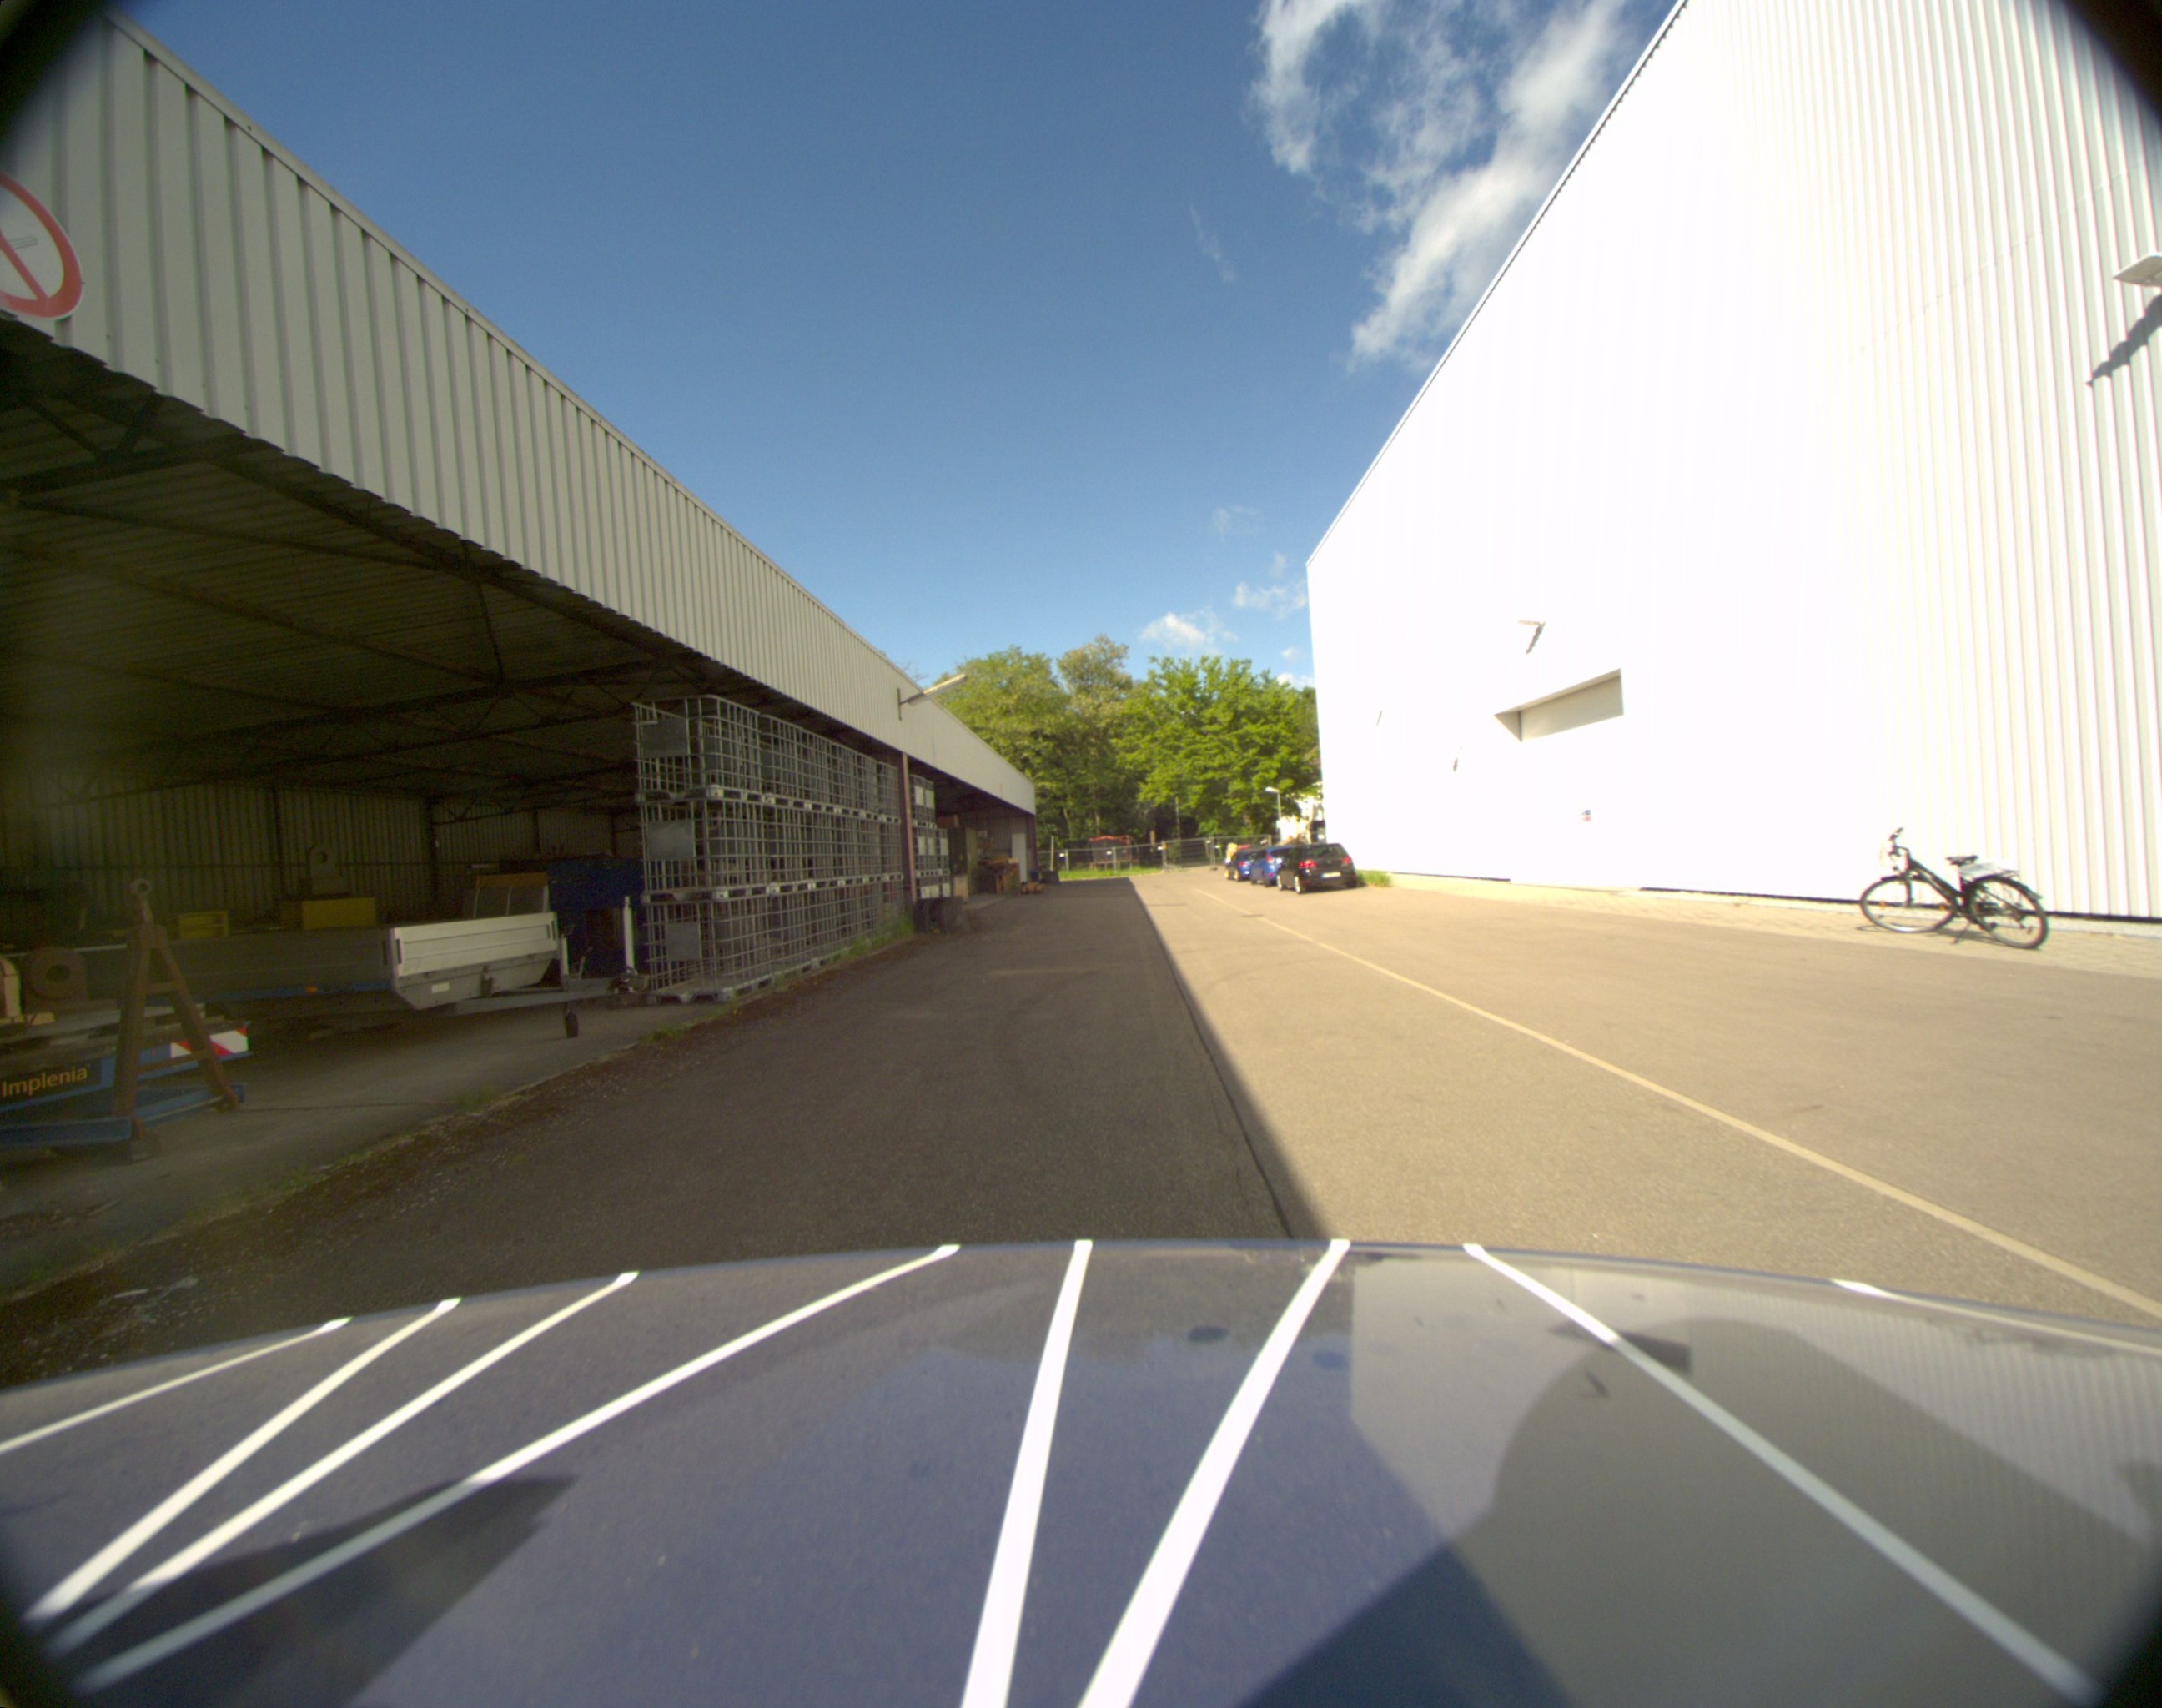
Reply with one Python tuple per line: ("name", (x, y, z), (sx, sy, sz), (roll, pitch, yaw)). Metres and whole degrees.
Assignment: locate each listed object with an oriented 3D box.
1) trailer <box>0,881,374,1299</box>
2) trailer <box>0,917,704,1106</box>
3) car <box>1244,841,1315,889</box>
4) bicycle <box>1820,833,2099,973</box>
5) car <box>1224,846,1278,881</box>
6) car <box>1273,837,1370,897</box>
("trailer", (-6.805, 1.104, 3.658), (4.879, 1.619, 2.029), (-3, 0, 2))
("trailer", (-6.920, 1.367, 7.017), (5.836, 1.113, 2.029), (-3, 0, 2))
("car", (7.467, 0.365, 28.908), (1.789, 1.513, 4.001), (-7, 0, 5))
("bicycle", (8.667, 0.421, 7.659), (0.909, 1.136, 1.901), (-7, 0, 18))
("car", (7.617, 0.383, 34.410), (1.789, 1.431, 4.001), (-3, 0, 4))
("car", (7.354, 0.362, 23.656), (1.895, 1.513, 4.001), (-7, 0, 5))
